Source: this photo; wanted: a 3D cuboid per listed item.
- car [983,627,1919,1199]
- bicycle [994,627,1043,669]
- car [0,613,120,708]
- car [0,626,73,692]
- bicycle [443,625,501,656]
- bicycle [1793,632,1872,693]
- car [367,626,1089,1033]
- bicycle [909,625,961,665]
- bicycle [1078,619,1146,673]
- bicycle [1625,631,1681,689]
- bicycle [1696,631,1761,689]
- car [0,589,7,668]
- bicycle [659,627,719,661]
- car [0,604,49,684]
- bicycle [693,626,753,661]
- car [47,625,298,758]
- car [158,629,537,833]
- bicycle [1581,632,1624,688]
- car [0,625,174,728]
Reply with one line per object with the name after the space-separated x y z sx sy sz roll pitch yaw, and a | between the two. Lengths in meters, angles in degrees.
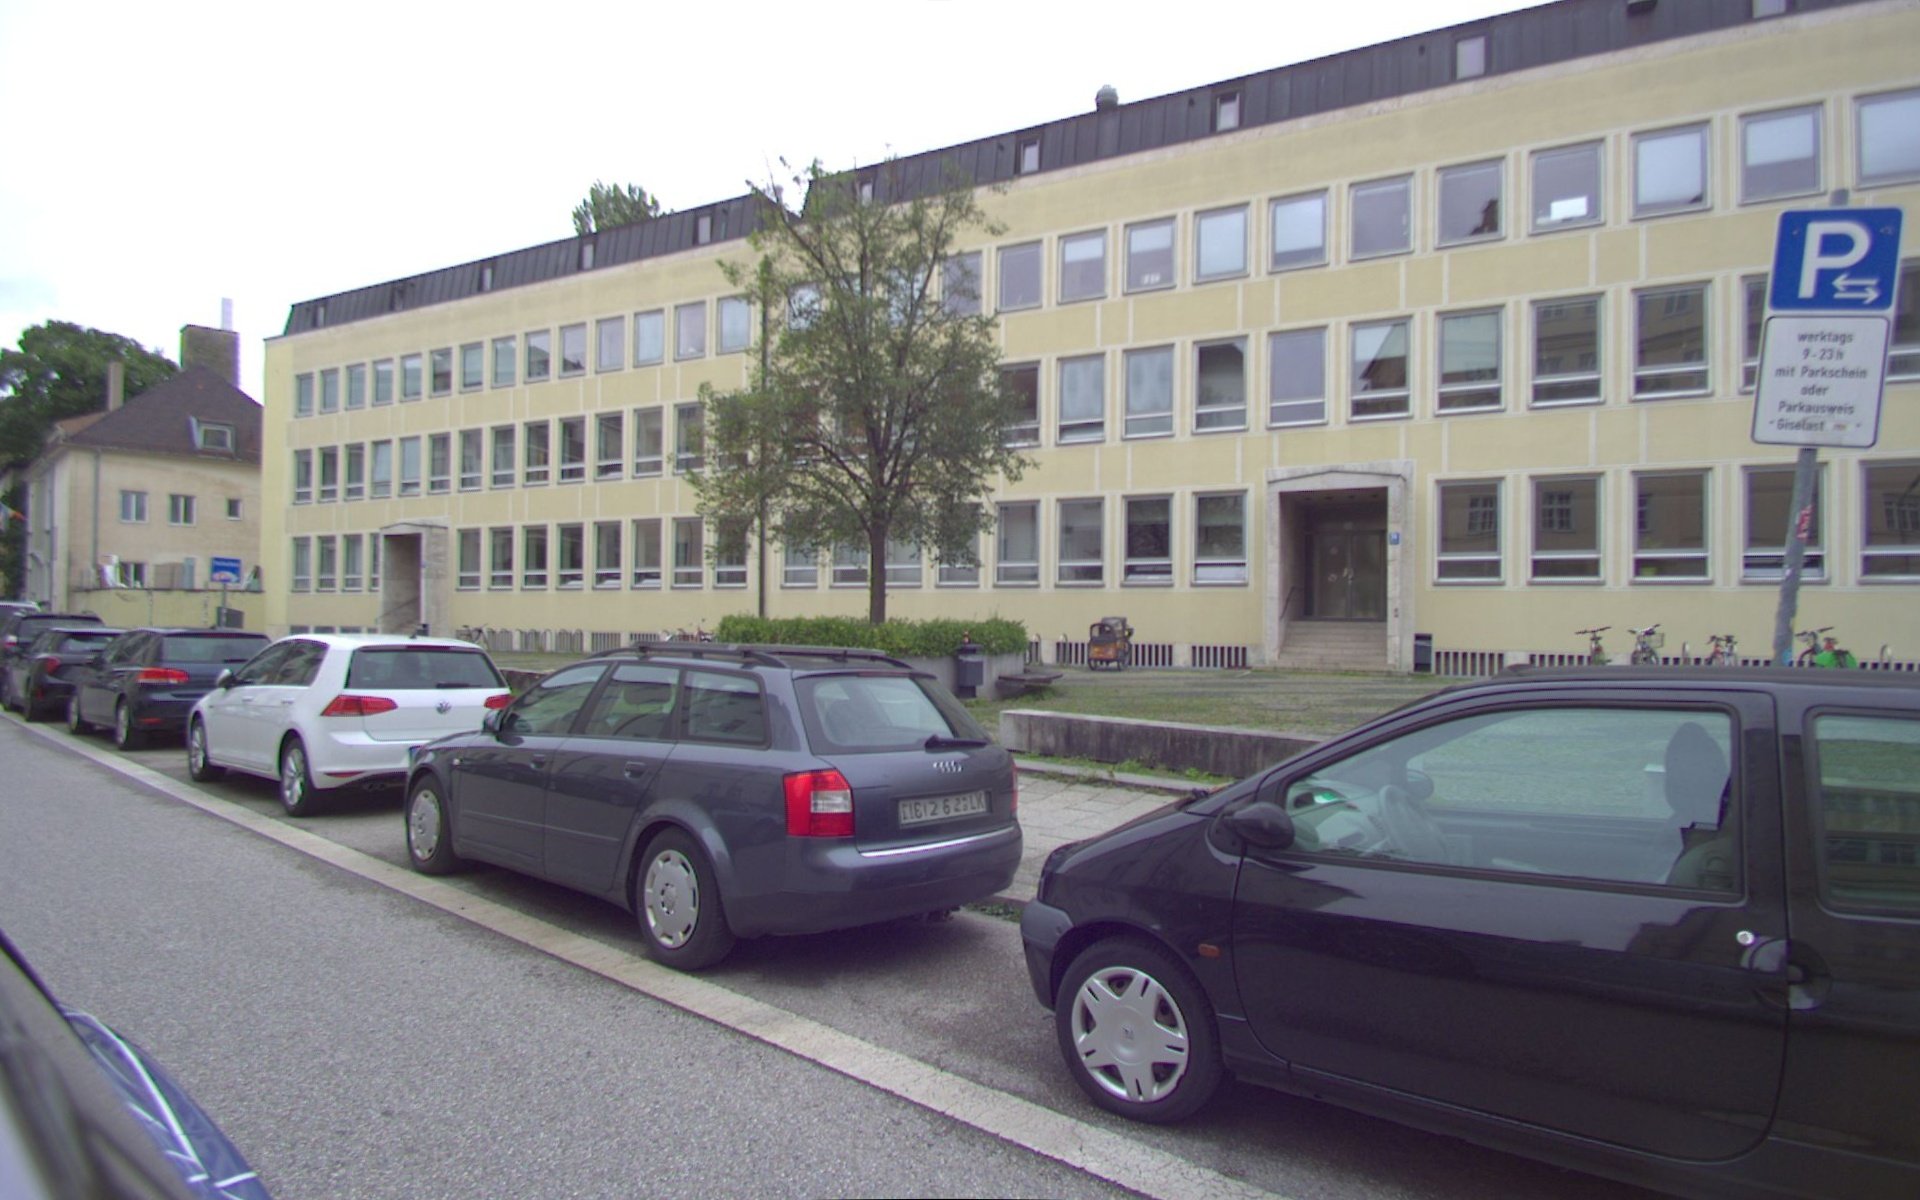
1.883 0.843 2.940 3.308 1.465 1.640 -1 -3 39 | car
1.518 1.215 26.113 0.622 1.022 1.937 -1 -1 24 | bicycle
-18.132 1.155 19.868 4.446 1.679 1.725 -1 -5 41 | car
-22.152 1.324 23.600 3.917 1.398 1.725 -1 -1 42 | car
-17.368 1.422 36.055 0.577 1.022 1.937 -1 0 24 | bicycle
15.696 1.093 18.252 0.622 1.022 1.935 -1 -1 27 | bicycle
-1.590 0.910 5.798 4.393 1.465 1.737 -1 -4 41 | car
-0.659 1.196 27.076 0.622 1.022 1.937 -1 -1 24 | bicycle
3.749 1.089 24.742 1.050 1.258 2.422 -1 -1 24 | bicycle
13.272 1.123 19.426 0.622 1.022 1.935 -1 -1 27 | bicycle
14.504 1.102 19.137 0.622 1.022 1.935 -1 -1 27 | bicycle
-35.187 0.953 35.389 5.653 2.666 2.272 -1 -3 43 | car
-8.482 1.364 31.801 0.623 1.022 1.932 -1 -1 31 | bicycle
-25.738 1.106 26.569 5.017 1.994 1.909 -1 -3 39 | car
-7.252 1.315 31.068 0.623 1.022 1.932 -1 -1 31 | bicycle
-10.280 1.087 13.117 3.969 1.465 1.640 -1 -3 39 | car
-5.755 1.030 9.324 4.068 1.465 1.640 -1 -3 39 | car
12.486 1.137 19.691 0.623 1.022 1.933 -1 -1 30 | bicycle
-14.254 1.157 16.363 3.867 1.465 1.663 -1 -4 41 | car
